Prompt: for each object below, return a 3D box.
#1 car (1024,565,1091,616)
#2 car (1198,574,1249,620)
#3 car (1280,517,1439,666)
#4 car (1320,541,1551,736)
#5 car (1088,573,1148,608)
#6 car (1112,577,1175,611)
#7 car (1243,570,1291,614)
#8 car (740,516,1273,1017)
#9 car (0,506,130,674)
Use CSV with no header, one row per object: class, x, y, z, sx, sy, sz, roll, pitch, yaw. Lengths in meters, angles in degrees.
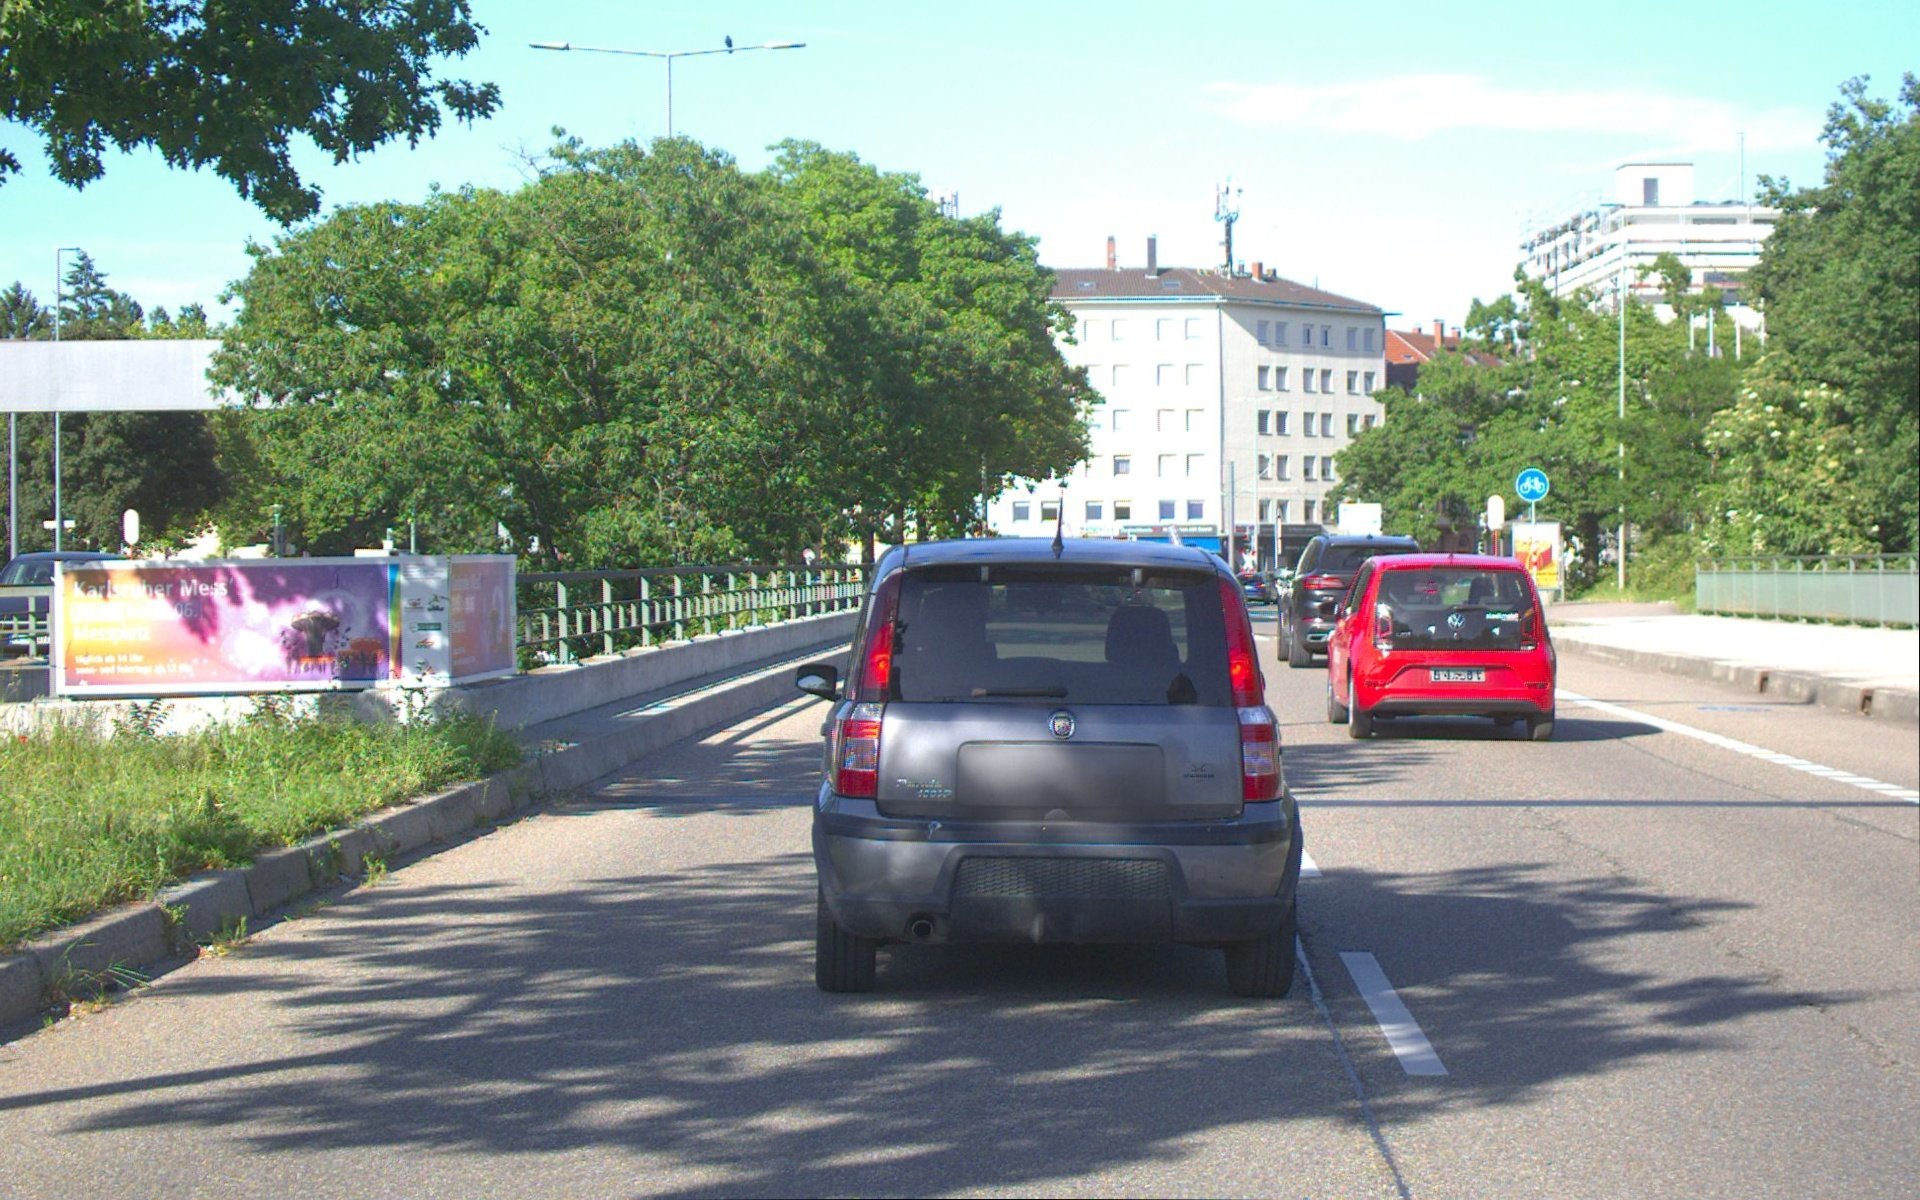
car,3.007,-0.296,105.583,1.945,1.523,4.097,0,1,3
car,11.501,-0.126,149.902,1.946,1.834,4.151,-4,-1,7
car,5.242,-0.103,45.336,1.946,1.834,4.152,1,0,6
car,3.882,0.265,28.523,1.617,1.458,3.750,2,1,4
car,6.972,-0.428,151.097,1.946,1.523,4.095,0,1,12
car,8.591,-0.284,160.508,1.947,1.523,4.094,0,1,18
car,13.993,-0.352,156.557,1.946,1.834,4.151,-4,-1,7
car,0.204,0.479,12.631,1.617,1.510,3.820,2,1,2
car,-11.950,-0.136,43.442,1.993,2.007,4.335,-1,1,-2
